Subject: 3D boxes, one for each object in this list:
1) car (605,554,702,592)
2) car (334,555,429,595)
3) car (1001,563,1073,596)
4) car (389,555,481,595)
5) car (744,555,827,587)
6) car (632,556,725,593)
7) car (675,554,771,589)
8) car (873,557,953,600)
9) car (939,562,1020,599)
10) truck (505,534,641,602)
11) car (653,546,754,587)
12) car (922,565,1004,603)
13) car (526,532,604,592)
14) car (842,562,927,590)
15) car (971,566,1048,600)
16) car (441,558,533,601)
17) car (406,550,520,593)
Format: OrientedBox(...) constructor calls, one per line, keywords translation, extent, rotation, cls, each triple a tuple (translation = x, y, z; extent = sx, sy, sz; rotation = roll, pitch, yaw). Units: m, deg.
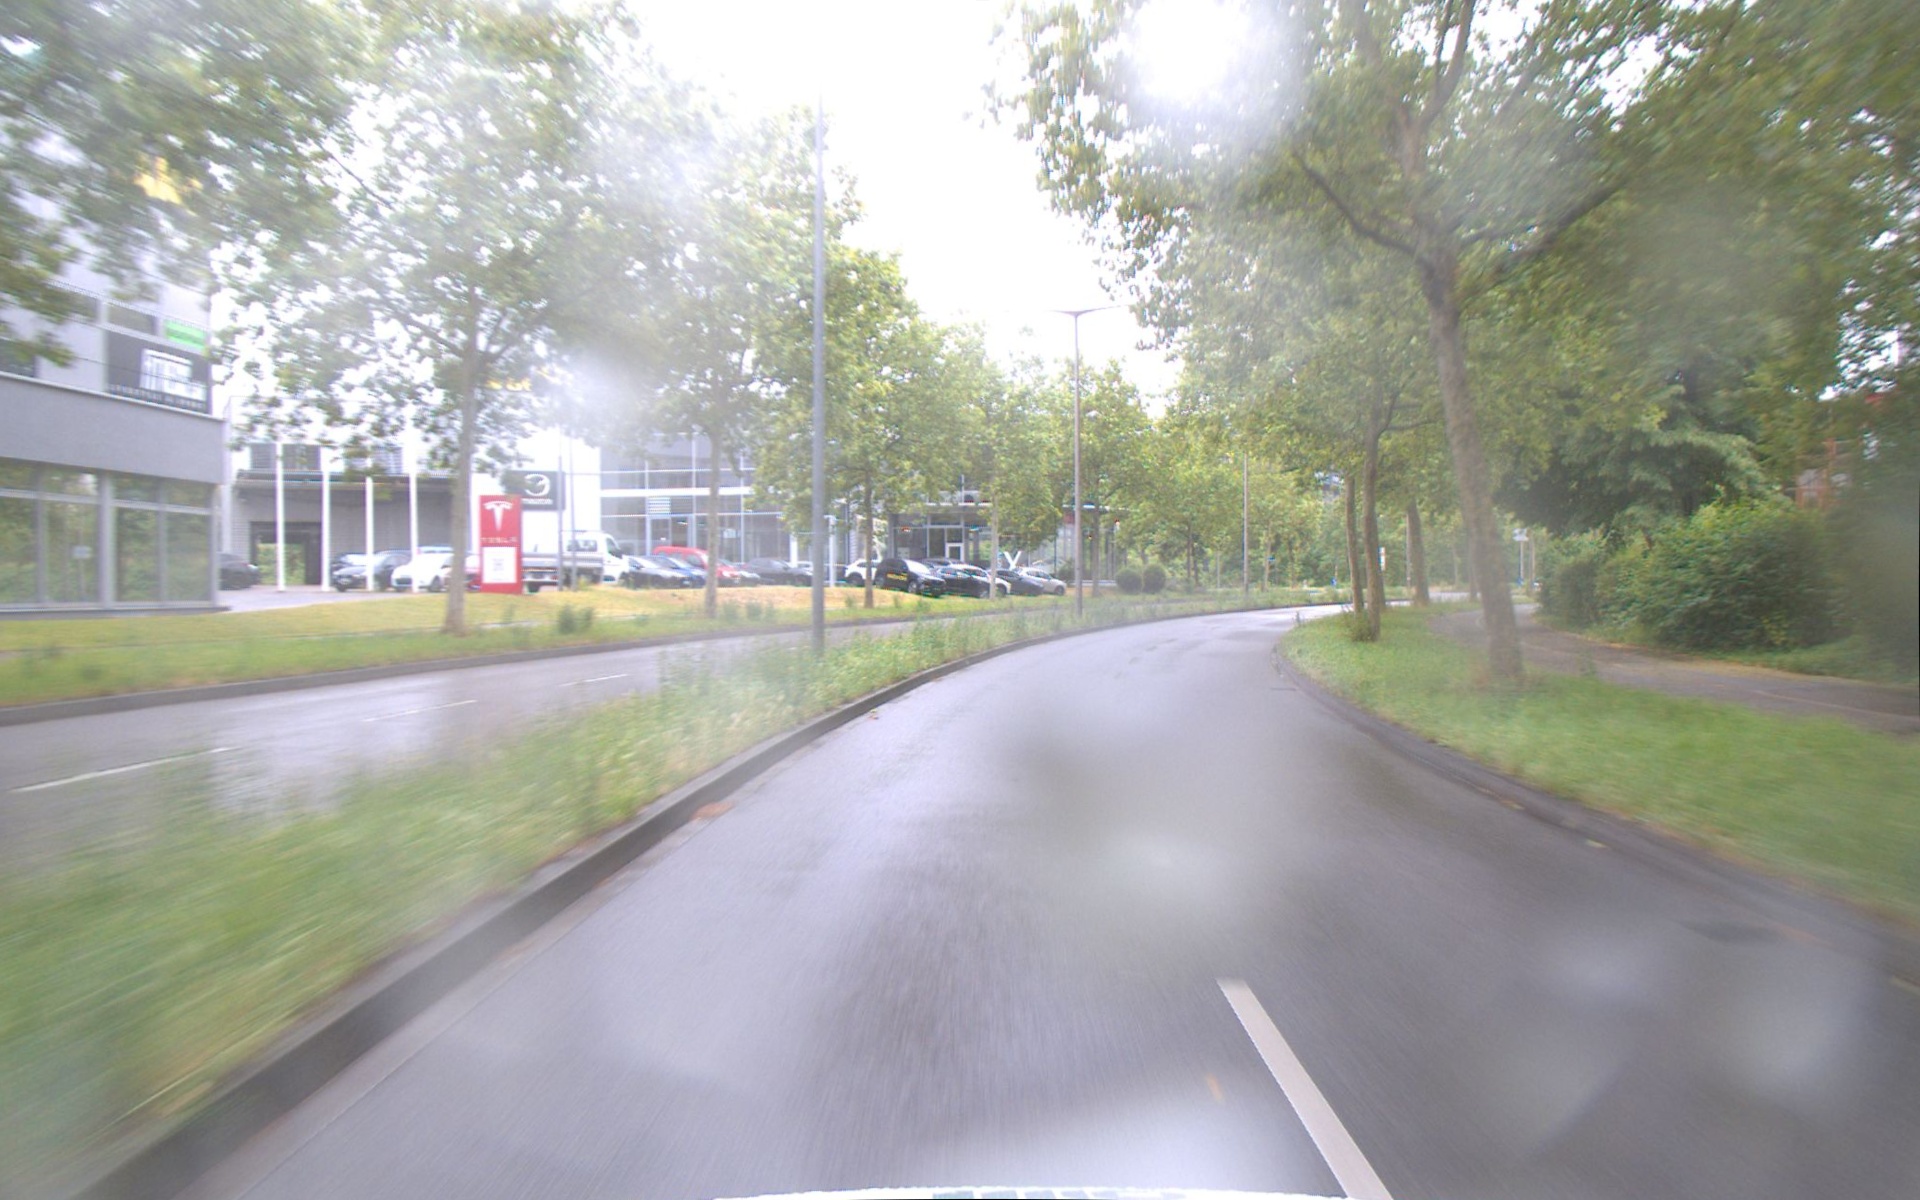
OrientedBox(translation=(-12.531, -1.122, 67.723), extent=(3.449, 1.349, 1.770), rotation=(3, 3, 16), cls="car")
OrientedBox(translation=(-22.897, -1.022, 65.573), extent=(1.725, 1.421, 4.161), rotation=(1, 2, 10), cls="car")
OrientedBox(translation=(4.678, -1.227, 100.789), extent=(3.941, 1.500, 1.770), rotation=(5, 4, -28), cls="car")
OrientedBox(translation=(-20.629, -1.011, 65.145), extent=(1.725, 1.421, 4.161), rotation=(1, 2, 10), cls="car")
OrientedBox(translation=(-8.646, -1.439, 82.227), extent=(3.915, 1.380, 1.847), rotation=(3, 3, -2), cls="car")
OrientedBox(translation=(-11.892, -1.098, 69.929), extent=(3.449, 1.349, 1.770), rotation=(3, 3, 16), cls="car")
OrientedBox(translation=(-10.800, -1.318, 75.387), extent=(3.912, 1.380, 1.849), rotation=(3, 3, 16), cls="car")
OrientedBox(translation=(-2.523, -1.141, 87.064), extent=(1.830, 1.582, 4.379), rotation=(4, 5, -39), cls="car")
OrientedBox(translation=(1.092, -1.100, 93.290), extent=(4.061, 1.503, 1.837), rotation=(5, 4, -23), cls="car")
OrientedBox(translation=(-14.781, -1.274, 63.567), extent=(2.200, 2.384, 6.199), rotation=(3, 3, 17), cls="truck")
OrientedBox(translation=(-11.231, -1.477, 72.568), extent=(3.912, 1.583, 1.849), rotation=(3, 3, 16), cls="car")
OrientedBox(translation=(0.170, -0.862, 90.490), extent=(4.049, 1.503, 1.842), rotation=(6, 4, -15), cls="car")
OrientedBox(translation=(-19.465, -1.896, 81.332), extent=(2.142, 2.800, 5.282), rotation=(1, 1, -31), cls="car")
OrientedBox(translation=(-4.184, -1.355, 92.112), extent=(4.327, 1.499, 1.921), rotation=(1, 1, 14), cls="car")
OrientedBox(translation=(2.896, -0.980, 96.871), extent=(4.055, 1.446, 1.839), rotation=(6, 4, -20), cls="car")
OrientedBox(translation=(-18.185, -0.823, 63.779), extent=(1.725, 1.492, 4.161), rotation=(1, 2, 10), cls="car")
OrientedBox(translation=(-22.448, -1.280, 74.750), extent=(4.599, 1.795, 1.799), rotation=(1, 1, -35), cls="car")
